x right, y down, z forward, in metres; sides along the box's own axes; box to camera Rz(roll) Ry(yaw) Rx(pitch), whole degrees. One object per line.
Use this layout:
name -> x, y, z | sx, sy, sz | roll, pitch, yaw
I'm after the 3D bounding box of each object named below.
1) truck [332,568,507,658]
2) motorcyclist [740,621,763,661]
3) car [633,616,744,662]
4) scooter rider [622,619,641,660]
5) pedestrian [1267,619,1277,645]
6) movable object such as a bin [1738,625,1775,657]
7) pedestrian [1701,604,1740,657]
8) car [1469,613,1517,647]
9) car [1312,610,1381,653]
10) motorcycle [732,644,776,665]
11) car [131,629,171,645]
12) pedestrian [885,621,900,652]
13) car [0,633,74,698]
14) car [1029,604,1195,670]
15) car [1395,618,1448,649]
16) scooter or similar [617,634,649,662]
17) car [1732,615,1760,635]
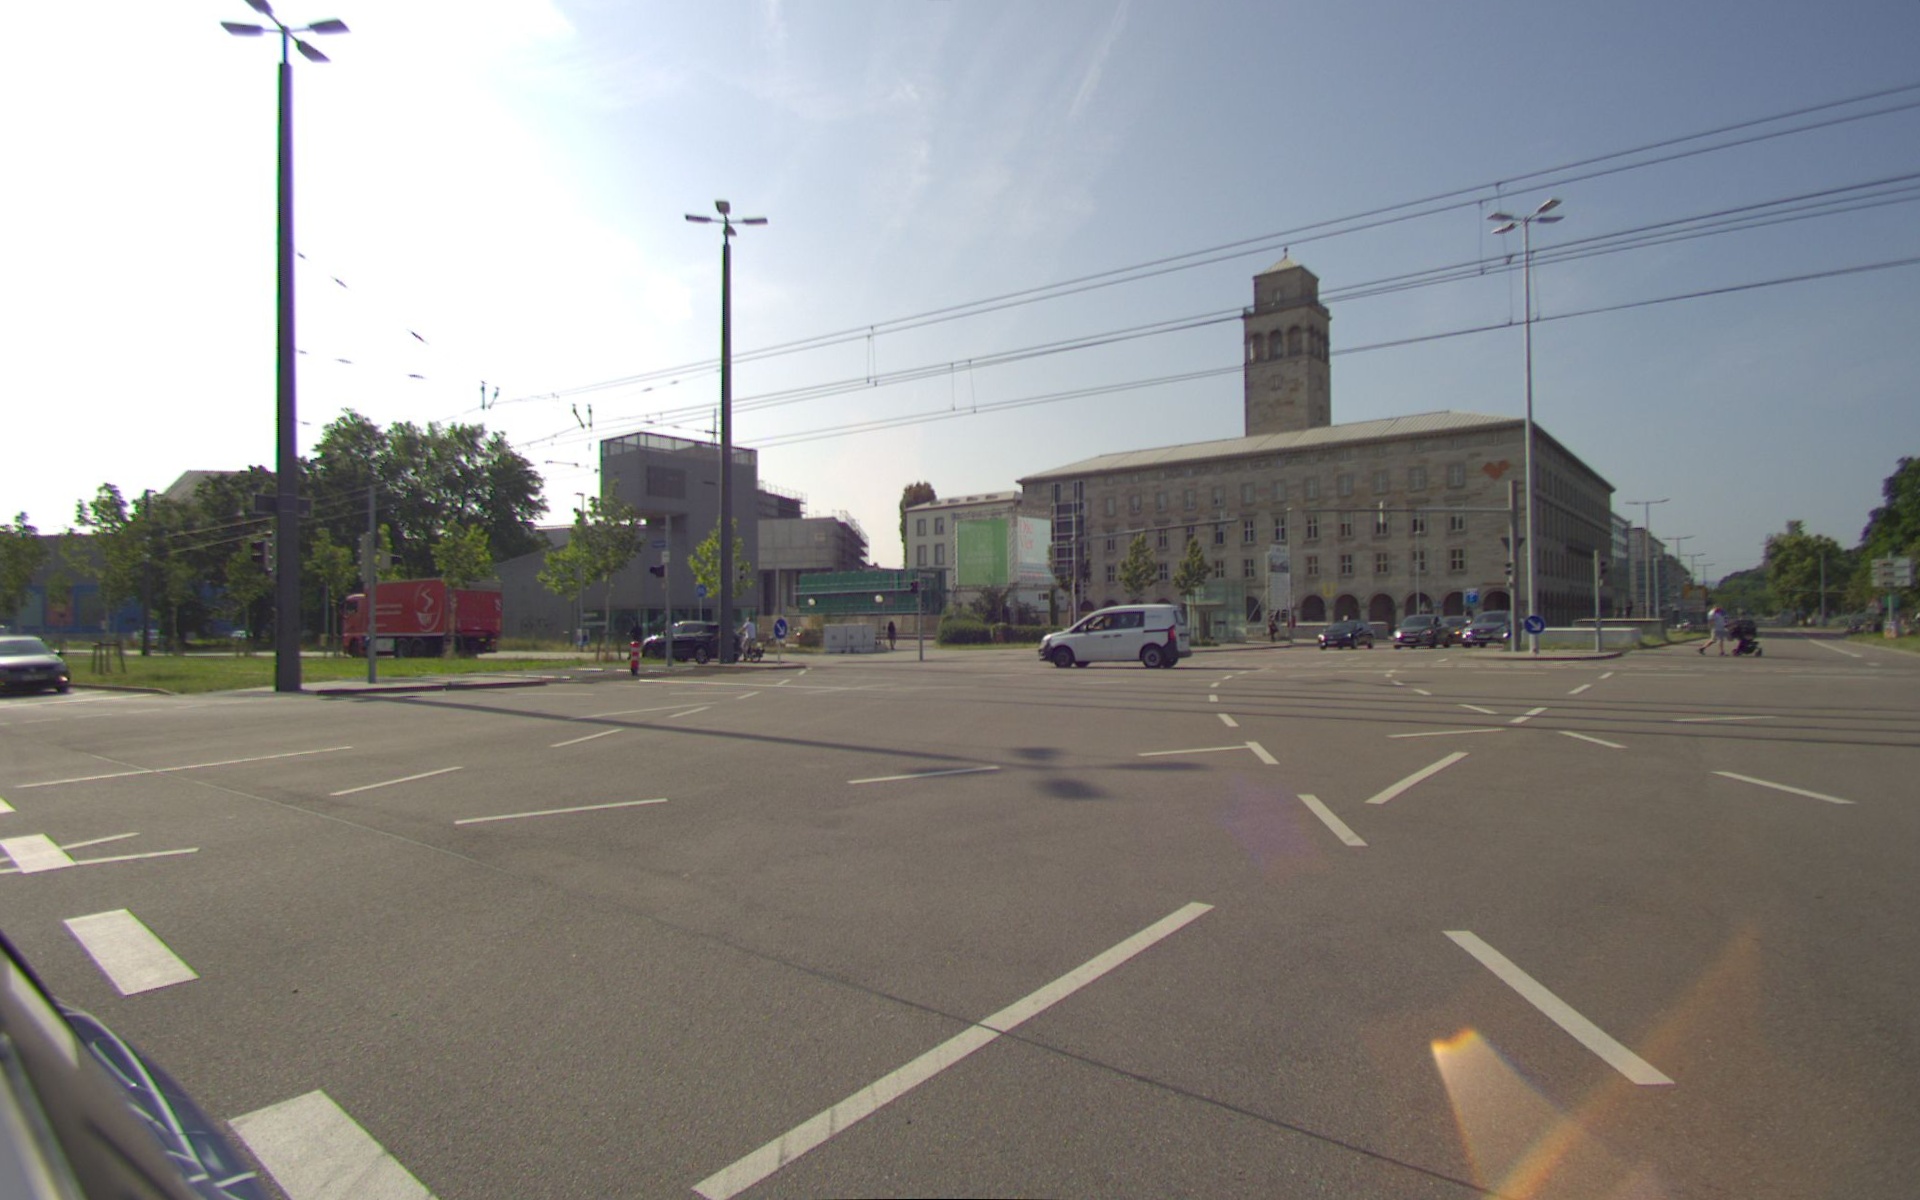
truck -> -25.634, 0.697, 47.690 | 10.398, 3.838, 2.946 | -2, -1, 35
motorcyclist -> -8.302, 1.634, 40.332 | 0.857, 1.539, 0.388 | -2, -2, 28
car -> -10.058, 1.453, 37.435 | 3.982, 1.613, 1.629 | -2, -1, 28
scooter rider -> -14.170, 1.703, 43.667 | 0.547, 1.711, 0.533 | -2, -1, 30
pedestrian -> 21.251, 2.180, 68.979 | 0.575, 1.744, 0.643 | -2, -1, 24
movable object such as a bin -> 26.232, 1.340, 33.341 | 0.907, 1.022, 0.558 | -2, -2, 39
pedestrian -> 25.500, 1.016, 33.943 | 1.005, 1.747, 0.554 | -2, -1, 39
car -> 23.879, 1.329, 45.314 | 1.565, 1.431, 3.304 | -2, -1, 34
car -> 19.530, 1.556, 51.080 | 1.999, 2.029, 3.946 | -2, -1, 40
motorcycle -> -8.202, 2.166, 40.250 | 1.814, 0.839, 0.515 | -2, -2, 29
car -> -96.449, 4.390, 120.603 | 4.800, 1.781, 2.000 | -2, -1, 28
pedestrian -> -3.824, 2.052, 57.185 | 0.537, 1.710, 0.599 | -2, -2, 40
car -> -23.665, 1.612, 25.120 | 3.862, 1.443, 1.689 | -2, 1, 36
car -> 4.400, 1.077, 29.467 | 4.493, 1.802, 1.607 | -2, -1, 26
car -> 21.586, 1.541, 47.277 | 1.705, 1.391, 3.612 | -2, -1, 34
scooter or similar -> -14.100, 2.068, 43.607 | 1.378, 1.155, 0.535 | -2, -1, 30
car -> 69.322, 2.194, 89.254 | 1.885, 1.732, 3.949 | -2, -2, 38
